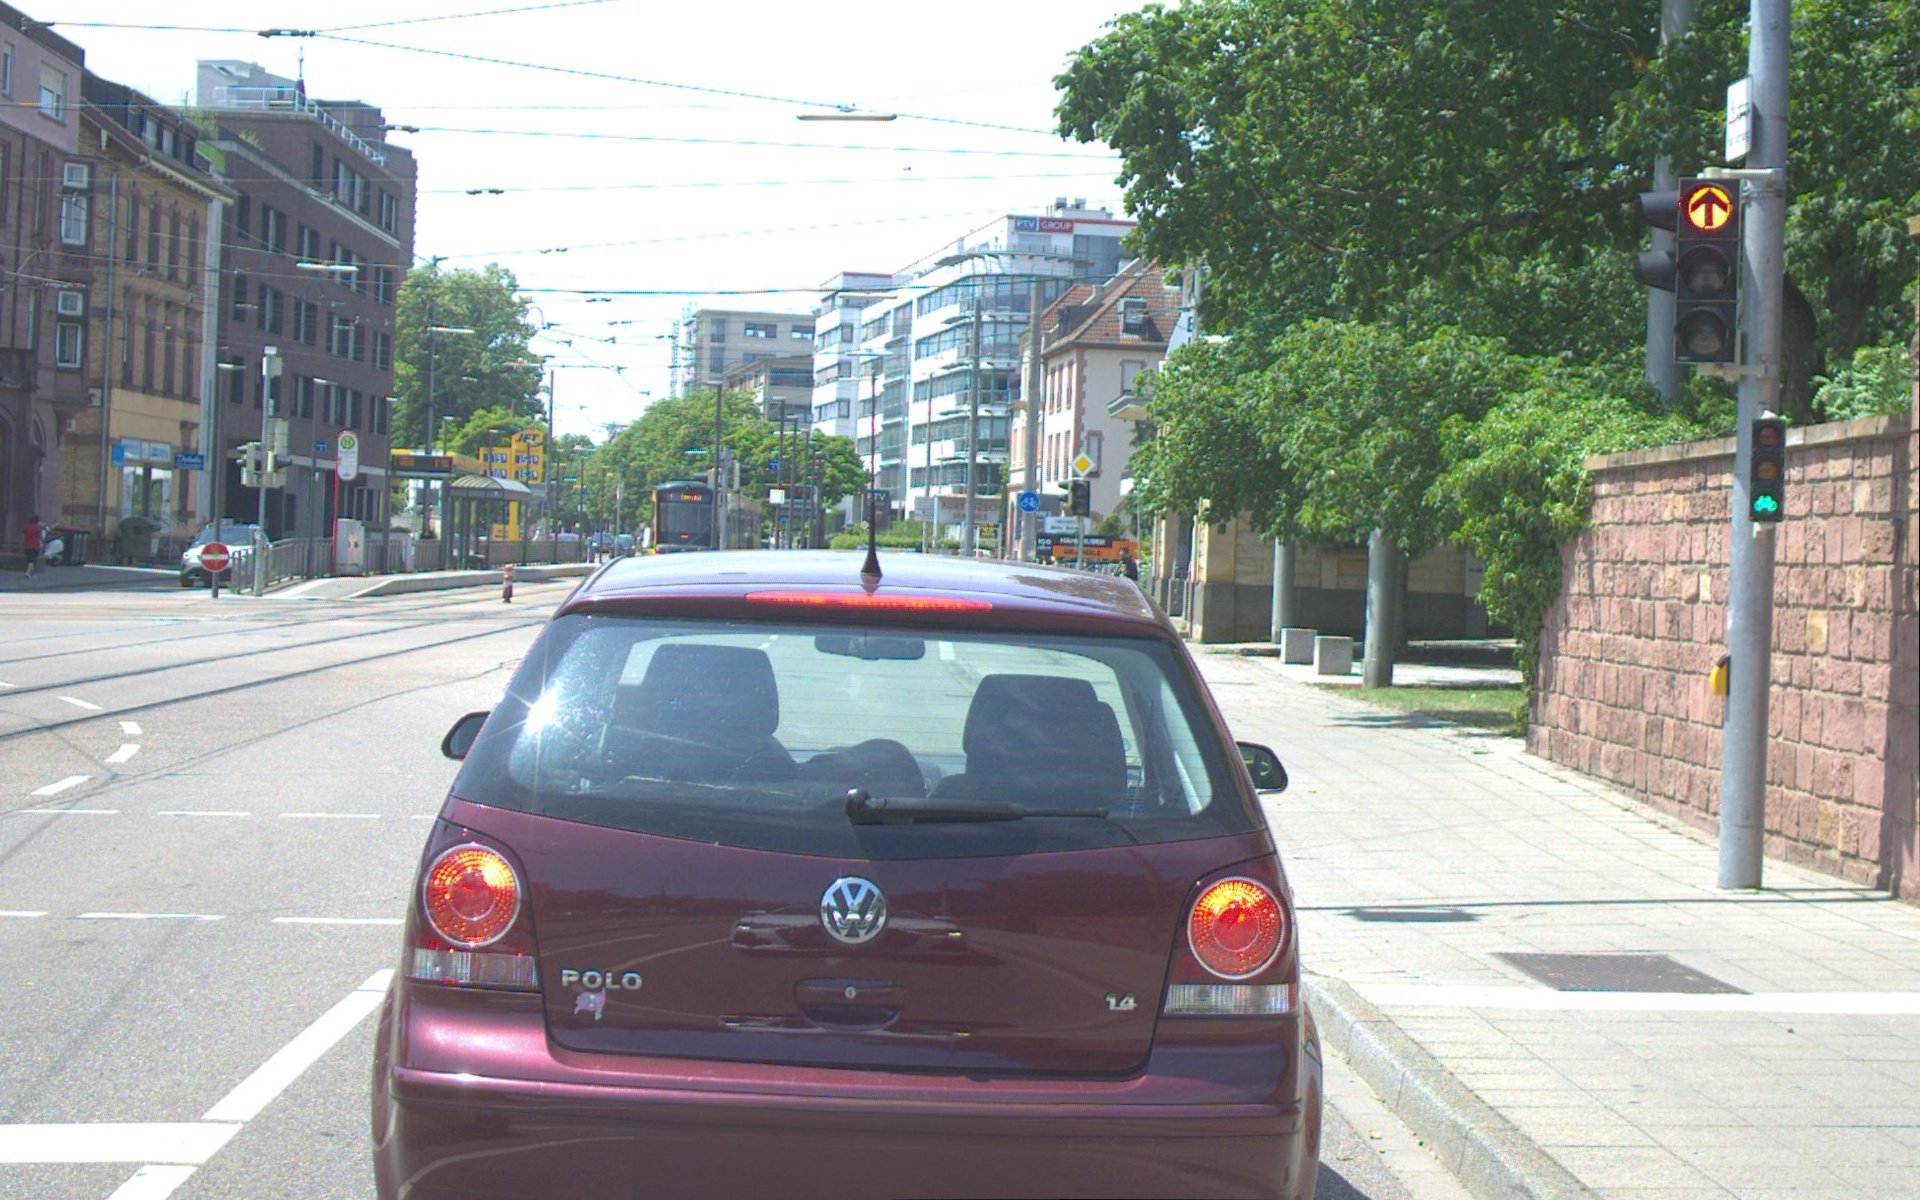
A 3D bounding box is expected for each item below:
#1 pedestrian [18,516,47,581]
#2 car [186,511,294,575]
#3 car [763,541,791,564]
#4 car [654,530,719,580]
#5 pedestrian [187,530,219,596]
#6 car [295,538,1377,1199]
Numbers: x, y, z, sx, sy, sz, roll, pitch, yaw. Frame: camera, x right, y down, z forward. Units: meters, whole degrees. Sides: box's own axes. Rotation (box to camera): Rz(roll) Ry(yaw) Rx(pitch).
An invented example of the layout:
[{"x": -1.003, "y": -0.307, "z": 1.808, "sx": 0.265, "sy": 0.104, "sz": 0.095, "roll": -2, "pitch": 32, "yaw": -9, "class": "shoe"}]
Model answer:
[{"x": -22.081, "y": -1.221, "z": 81.814, "sx": 0.484, "sy": 1.535, "sz": 0.538, "roll": 1, "pitch": 0, "yaw": 6, "class": "pedestrian"}, {"x": -17.432, "y": -1.375, "z": 83.330, "sx": 1.689, "sy": 1.457, "sz": 4.000, "roll": 2, "pitch": 1, "yaw": 1, "class": "car"}, {"x": -11.033, "y": -2.866, "z": 207.217, "sx": 1.572, "sy": 1.411, "sz": 3.720, "roll": 0, "pitch": 1, "yaw": -1, "class": "car"}, {"x": -9.228, "y": -1.503, "z": 116.151, "sx": 1.938, "sy": 1.635, "sz": 4.000, "roll": 1, "pitch": 0, "yaw": -1, "class": "car"}, {"x": -20.756, "y": -1.030, "z": 94.297, "sx": 0.662, "sy": 1.781, "sz": 0.815, "roll": 2, "pitch": 1, "yaw": -1, "class": "pedestrian"}, {"x": -0.261, "y": 0.629, "z": 7.280, "sx": 1.610, "sy": 1.458, "sz": 4.086, "roll": 2, "pitch": 1, "yaw": -2, "class": "car"}]
